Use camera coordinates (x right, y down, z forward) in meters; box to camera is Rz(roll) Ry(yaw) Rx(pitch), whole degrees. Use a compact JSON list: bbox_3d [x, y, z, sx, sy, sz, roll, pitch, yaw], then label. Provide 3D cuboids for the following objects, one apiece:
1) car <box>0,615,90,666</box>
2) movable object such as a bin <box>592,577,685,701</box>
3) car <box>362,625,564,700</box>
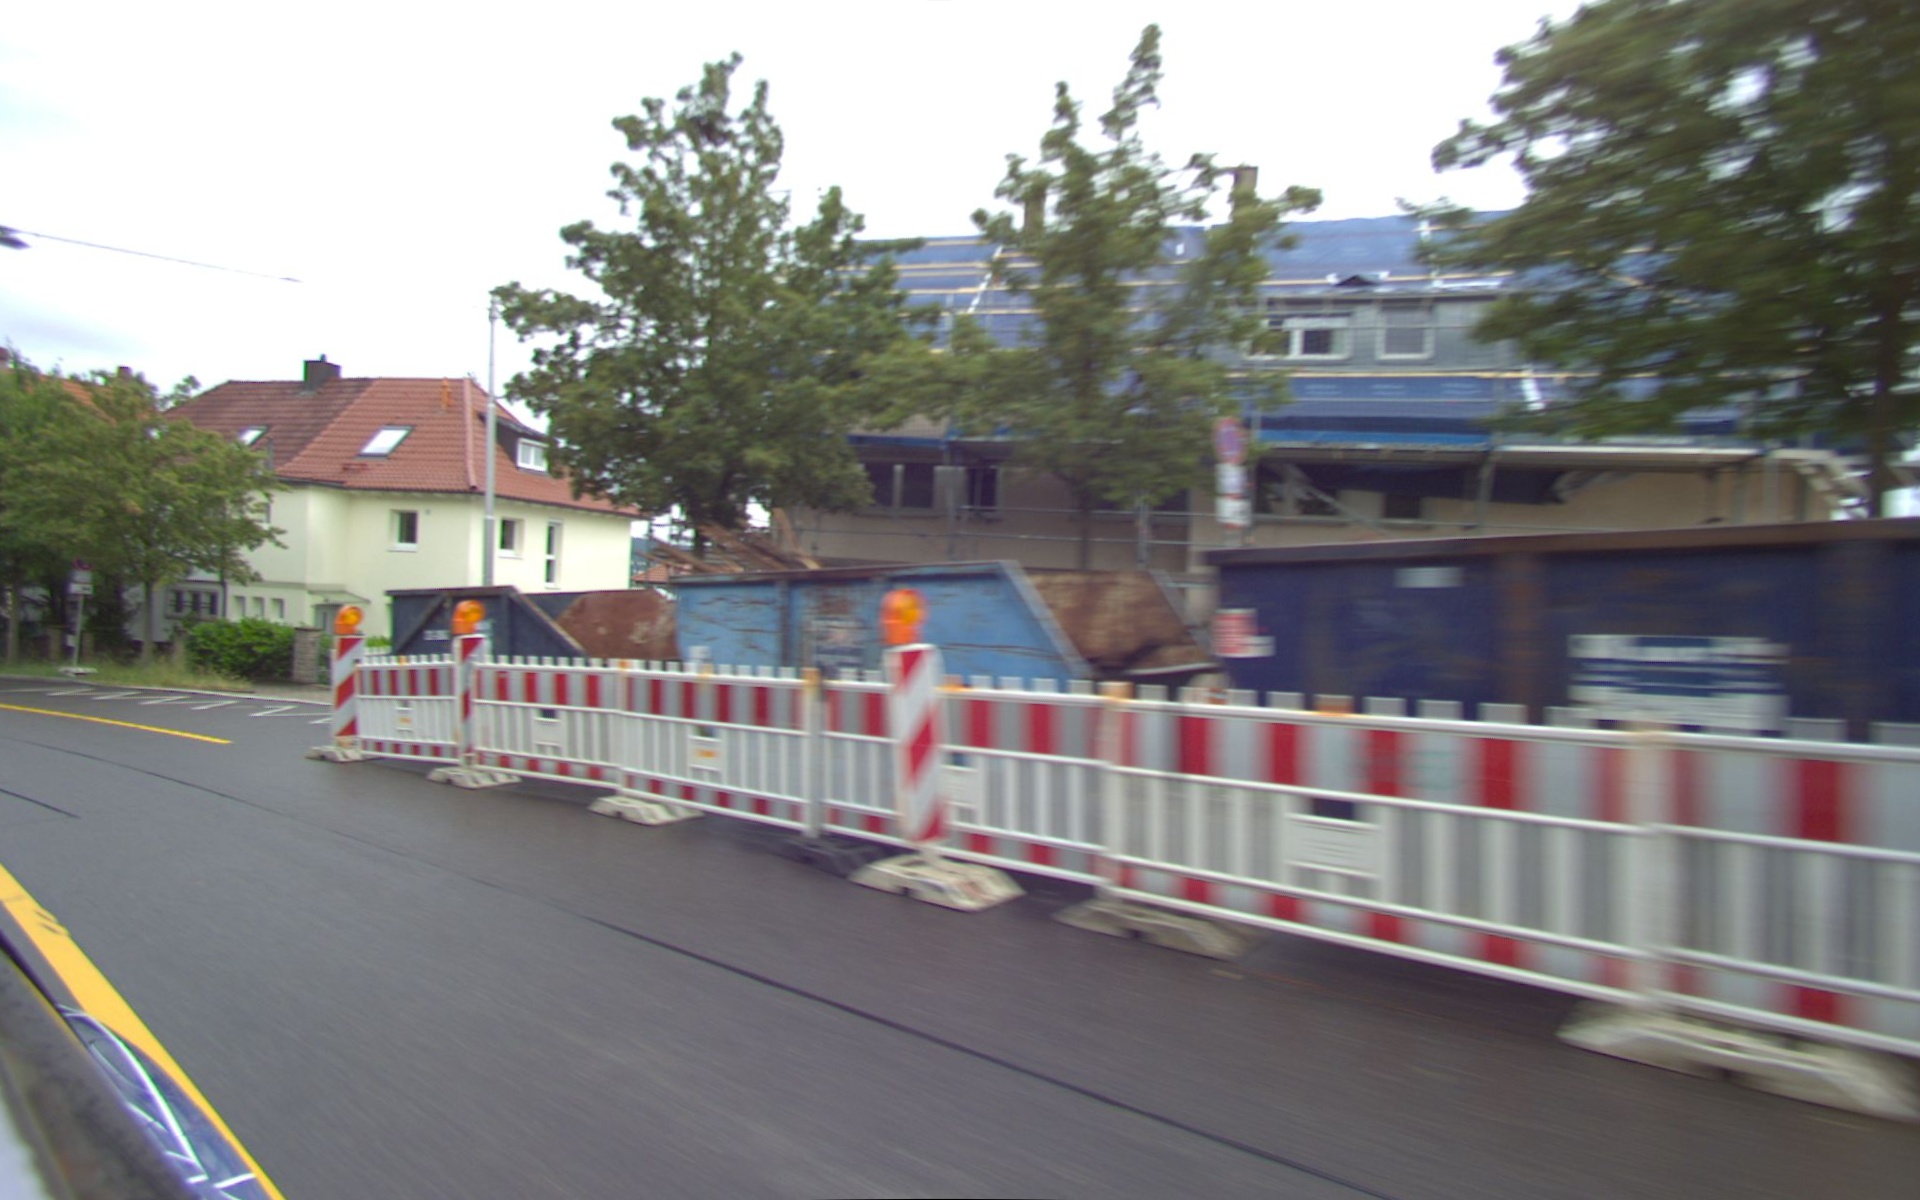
[{"bbox_3d":[-33.465,1.459,35.593,1.848,1.554,3.931,0,3,18],"label":"car"},{"bbox_3d":[-6.789,0.815,21.451,1.376,2.525,1.307,-1,-1,21],"label":"movable object such as a bin"},{"bbox_3d":[-11.857,1.515,24.488,1.935,1.616,4.183,1,-4,19],"label":"car"}]
